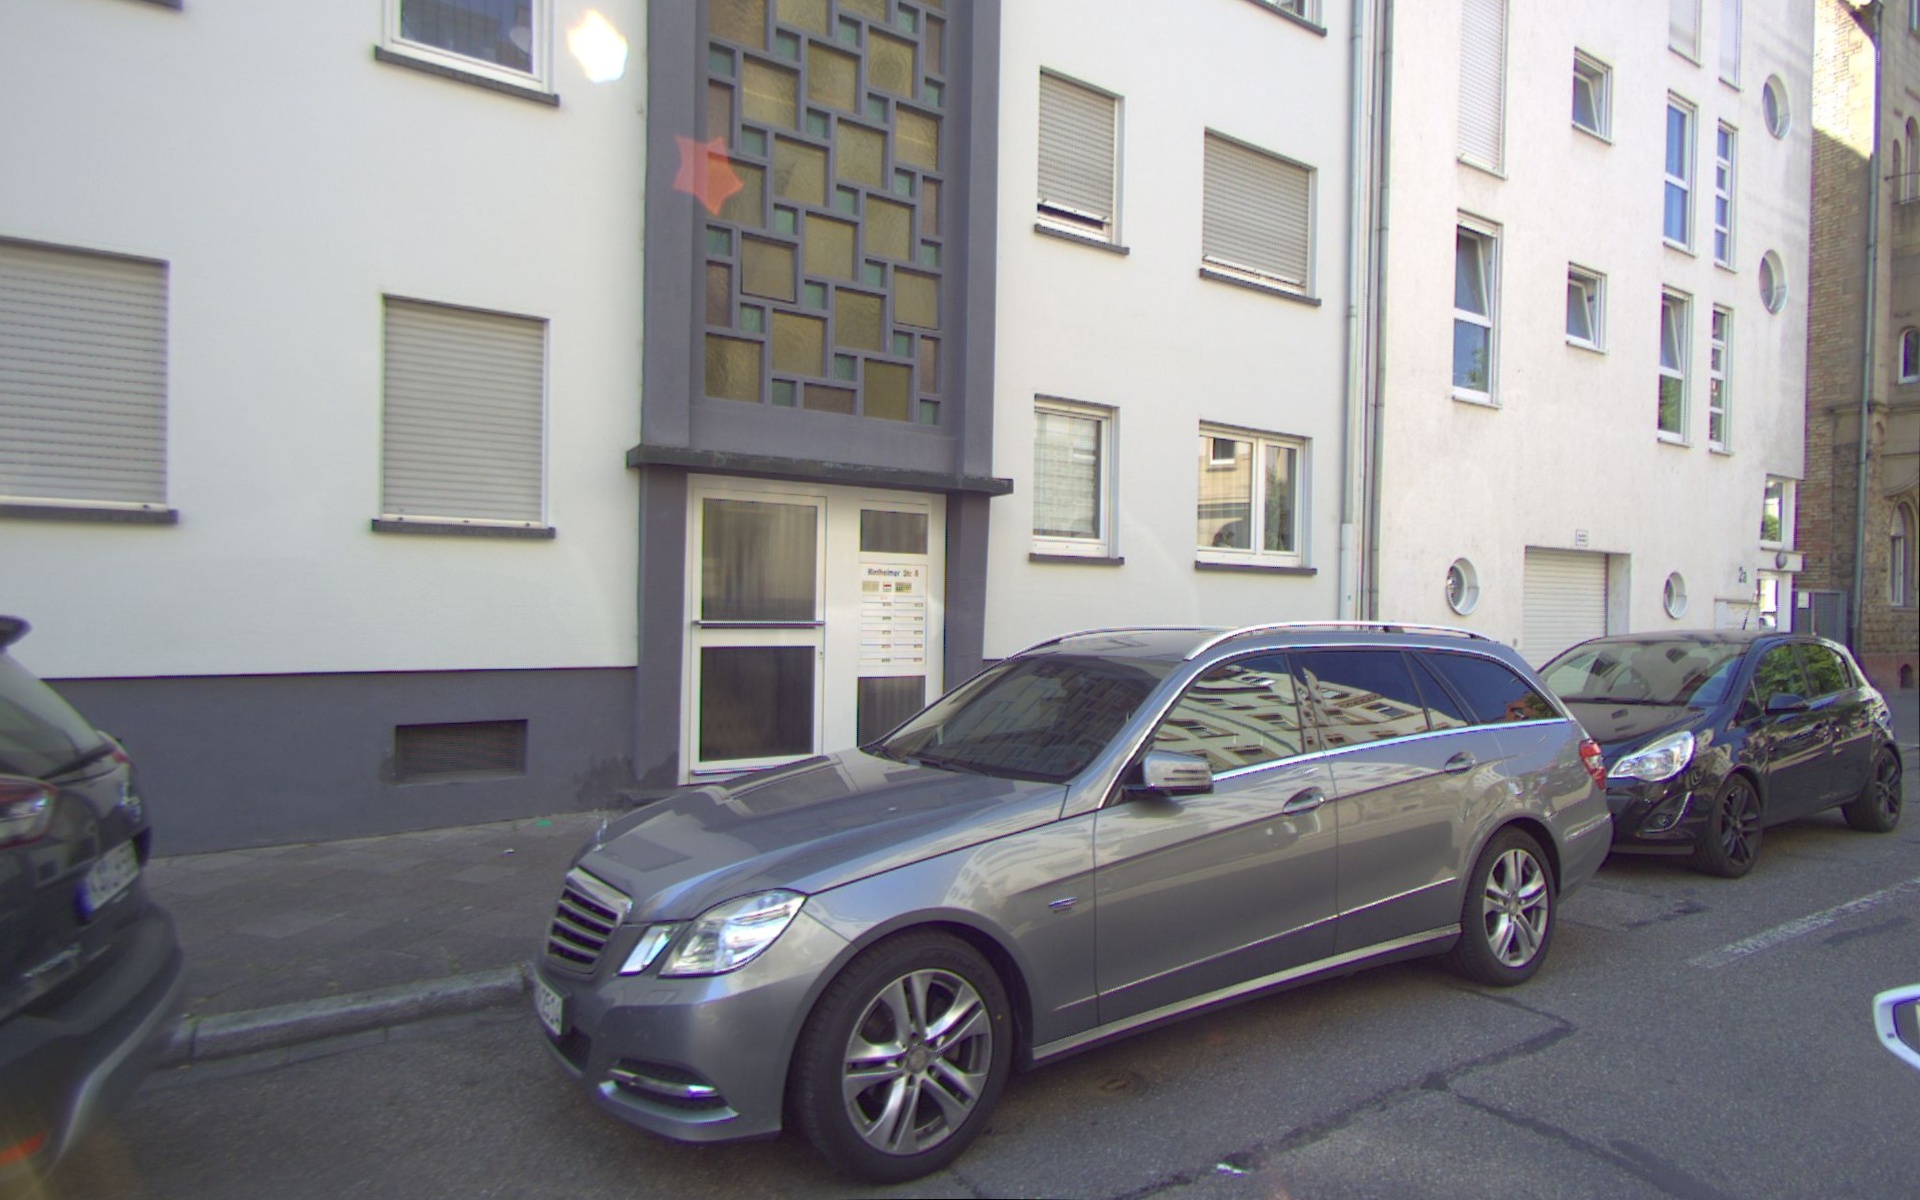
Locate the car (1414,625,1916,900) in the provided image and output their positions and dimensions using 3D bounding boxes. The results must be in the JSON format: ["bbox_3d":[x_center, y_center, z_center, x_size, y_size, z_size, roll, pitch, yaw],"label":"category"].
[{"bbox_3d":[5.156,0.960,7.233,3.850,1.511,1.559,1,-3,-32],"label":"car"}]

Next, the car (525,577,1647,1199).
[{"bbox_3d":[0.805,0.793,4.176,4.619,1.538,1.648,1,-3,-32],"label":"car"}]

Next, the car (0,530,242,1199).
[{"bbox_3d":[-3.574,0.705,1.486,3.932,1.665,1.595,1,-3,-32],"label":"car"}]
